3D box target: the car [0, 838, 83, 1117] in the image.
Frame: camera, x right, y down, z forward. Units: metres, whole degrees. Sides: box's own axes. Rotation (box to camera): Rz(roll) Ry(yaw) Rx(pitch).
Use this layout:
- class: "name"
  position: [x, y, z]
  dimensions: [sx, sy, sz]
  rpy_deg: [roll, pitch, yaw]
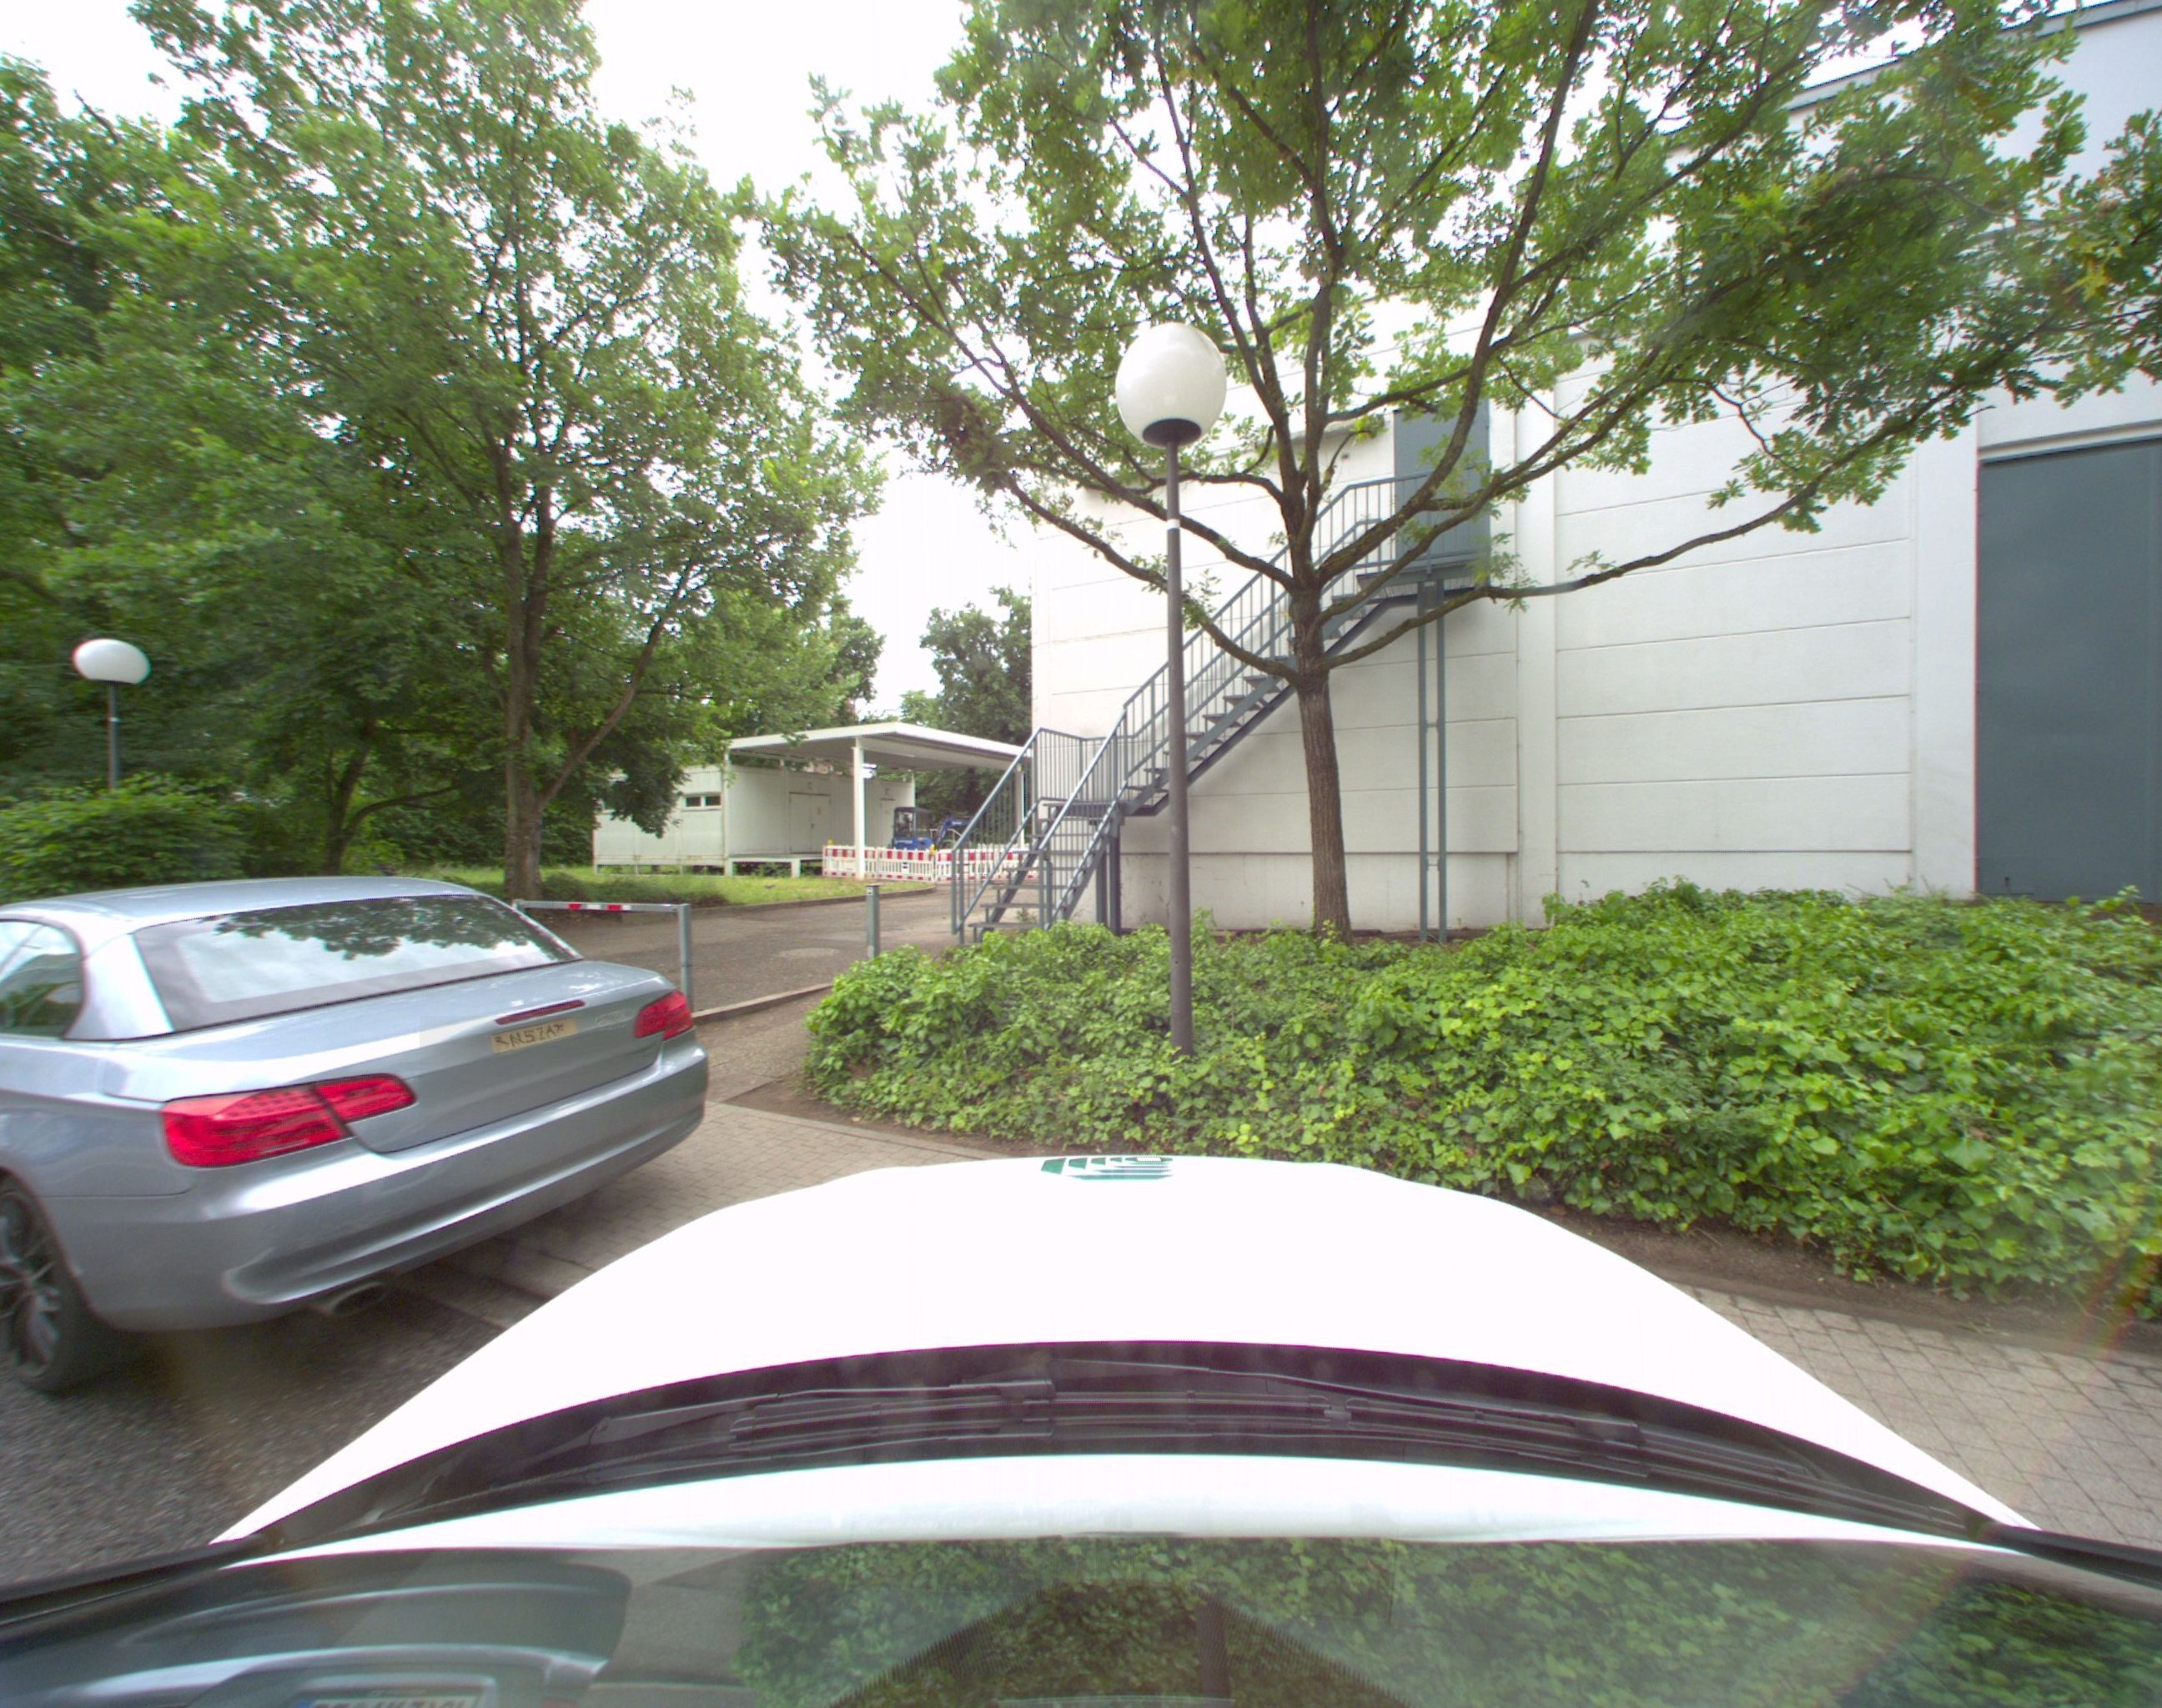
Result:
- class: "car"
  position: [-8.142, 0.760, 4.902]
  dimensions: [3.830, 1.586, 1.731]
  rpy_deg: [-1, 1, 25]

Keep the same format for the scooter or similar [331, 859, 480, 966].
- class: "scooter or similar"
  position: [-8.293, 0.693, 10.050]
  dimensions: [1.308, 1.210, 0.447]
  rpy_deg: [-2, 1, -24]

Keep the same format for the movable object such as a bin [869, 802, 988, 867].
- class: "movable object such as a bin"
  position: [-5.428, -0.652, 29.674]
  dimensions: [1.976, 2.171, 4.696]
  rpy_deg: [-1, 0, 22]

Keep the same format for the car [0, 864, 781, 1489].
- class: "car"
  position: [-3.611, 0.792, 3.542]
  dimensions: [4.143, 1.388, 1.834]
  rpy_deg: [-1, 2, 23]
